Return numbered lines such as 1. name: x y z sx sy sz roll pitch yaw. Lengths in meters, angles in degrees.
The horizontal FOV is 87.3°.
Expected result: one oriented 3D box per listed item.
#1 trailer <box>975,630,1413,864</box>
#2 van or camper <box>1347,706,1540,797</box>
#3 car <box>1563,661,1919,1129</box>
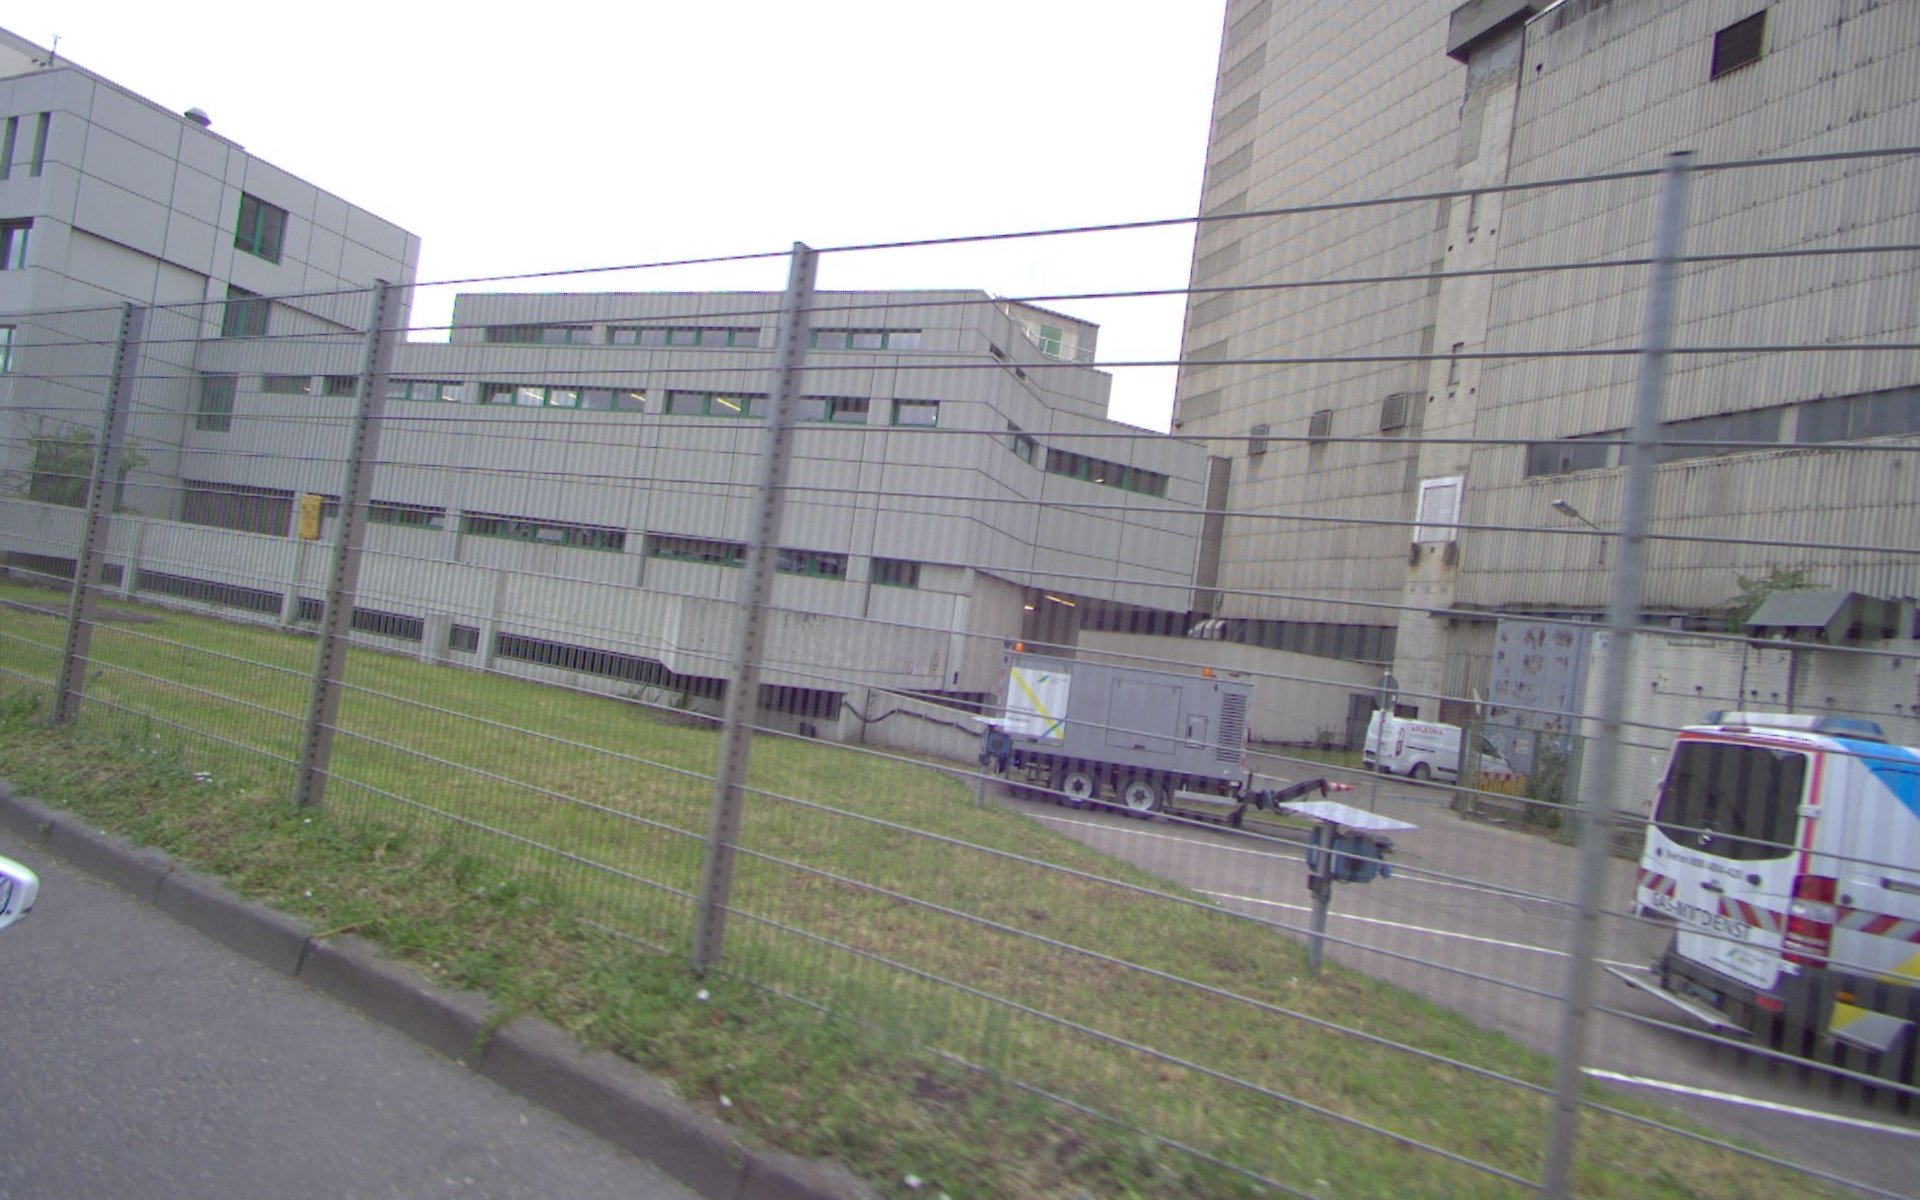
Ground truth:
1. trailer: 3.694 2.311 16.785 6.311 2.571 2.670 8 -3 9
2. van or camper: 15.850 4.959 33.098 5.249 2.166 2.354 8 -2 -12
3. car: 8.036 2.333 7.392 5.353 2.791 2.432 10 -2 6
